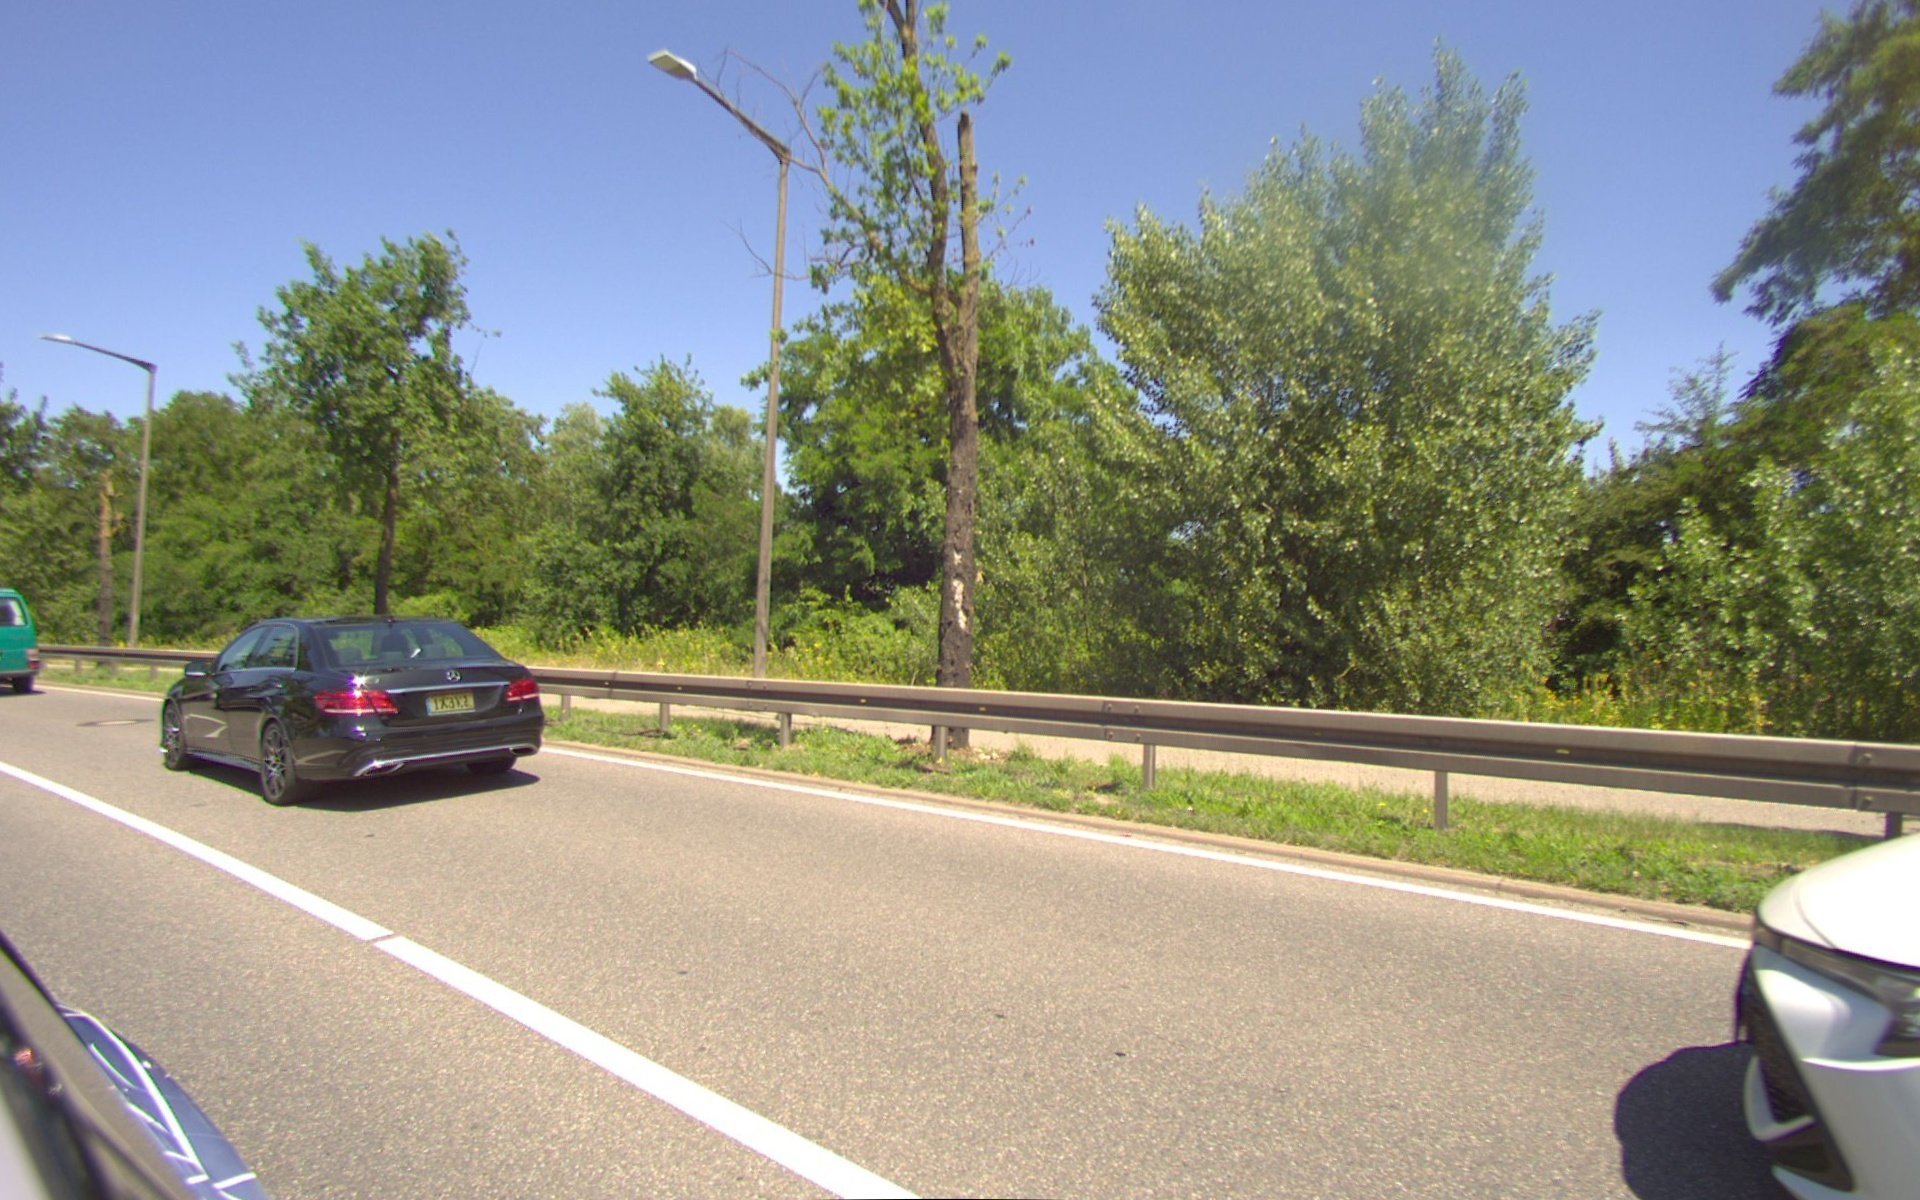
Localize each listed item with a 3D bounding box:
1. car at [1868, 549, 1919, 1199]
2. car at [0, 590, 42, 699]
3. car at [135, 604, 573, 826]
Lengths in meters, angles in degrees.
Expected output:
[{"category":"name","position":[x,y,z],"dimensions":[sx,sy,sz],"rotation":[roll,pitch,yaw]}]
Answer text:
[{"category":"car","position":[3.845,0.589,0.915],"dimensions":[4.460,1.458,1.682],"rotation":[-1,0,43]},{"category":"car","position":[-19.482,0.841,19.266],"dimensions":[4.761,1.953,1.816],"rotation":[-1,-1,33]},{"category":"car","position":[-5.585,0.825,9.048],"dimensions":[4.735,1.479,1.828],"rotation":[-1,0,39]}]
